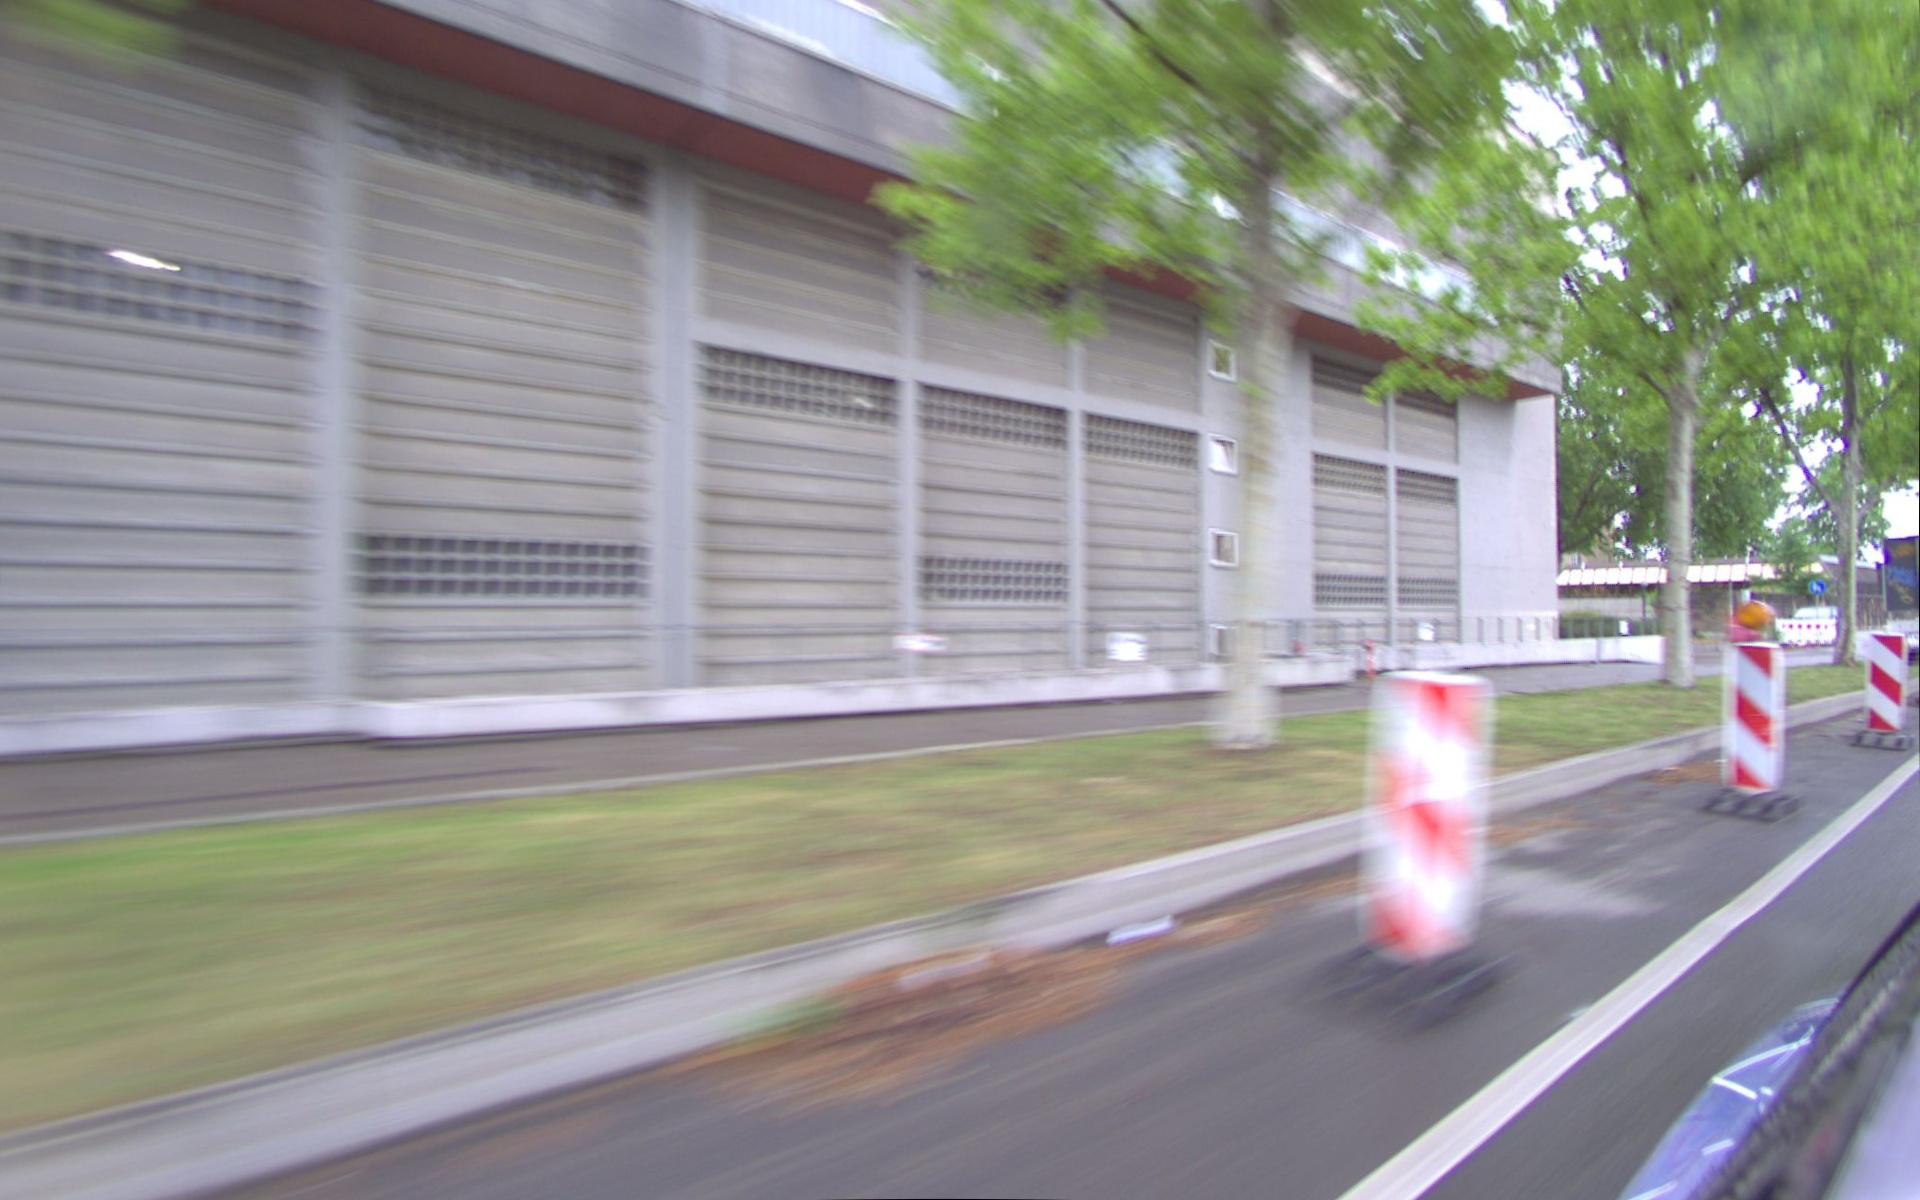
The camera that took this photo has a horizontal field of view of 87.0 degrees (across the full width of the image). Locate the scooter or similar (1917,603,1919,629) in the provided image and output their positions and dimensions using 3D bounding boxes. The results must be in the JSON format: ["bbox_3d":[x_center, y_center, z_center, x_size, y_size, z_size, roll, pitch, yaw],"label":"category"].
[{"bbox_3d":[28.013,0.691,28.511,0.608,1.302,1.358,-2,-4,-38],"label":"scooter or similar"}]
